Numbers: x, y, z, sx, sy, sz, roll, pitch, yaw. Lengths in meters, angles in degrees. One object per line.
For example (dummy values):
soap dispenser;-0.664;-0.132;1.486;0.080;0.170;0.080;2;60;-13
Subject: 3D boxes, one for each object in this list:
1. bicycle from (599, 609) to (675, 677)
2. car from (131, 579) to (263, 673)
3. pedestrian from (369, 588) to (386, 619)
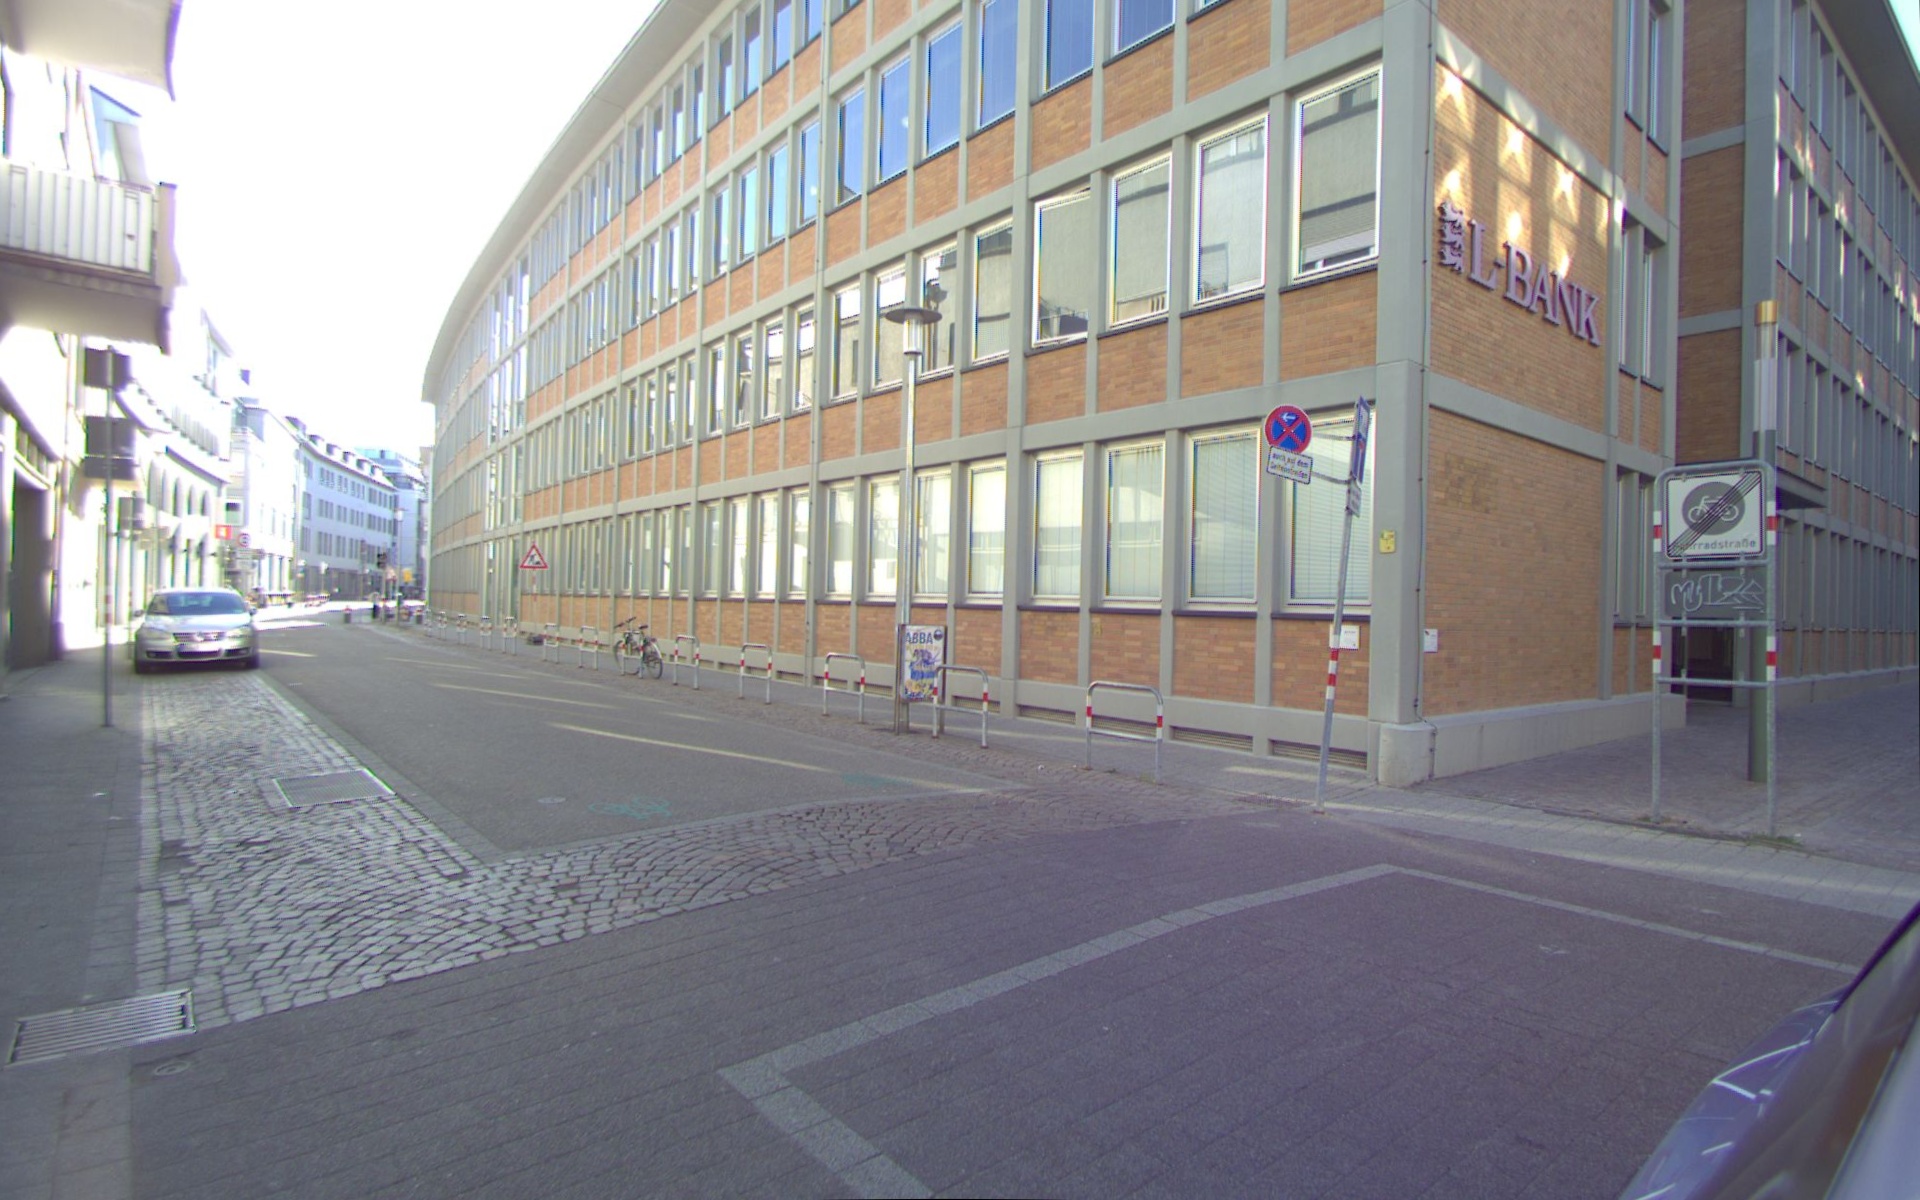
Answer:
bicycle;-5.922;0.756;18.503;0.627;1.130;1.928;1;0;-40
car;-13.876;0.379;18.390;1.739;1.488;3.810;-1;2;-38
pedestrian;-28.311;0.168;49.194;0.647;1.459;0.595;1;0;-37
